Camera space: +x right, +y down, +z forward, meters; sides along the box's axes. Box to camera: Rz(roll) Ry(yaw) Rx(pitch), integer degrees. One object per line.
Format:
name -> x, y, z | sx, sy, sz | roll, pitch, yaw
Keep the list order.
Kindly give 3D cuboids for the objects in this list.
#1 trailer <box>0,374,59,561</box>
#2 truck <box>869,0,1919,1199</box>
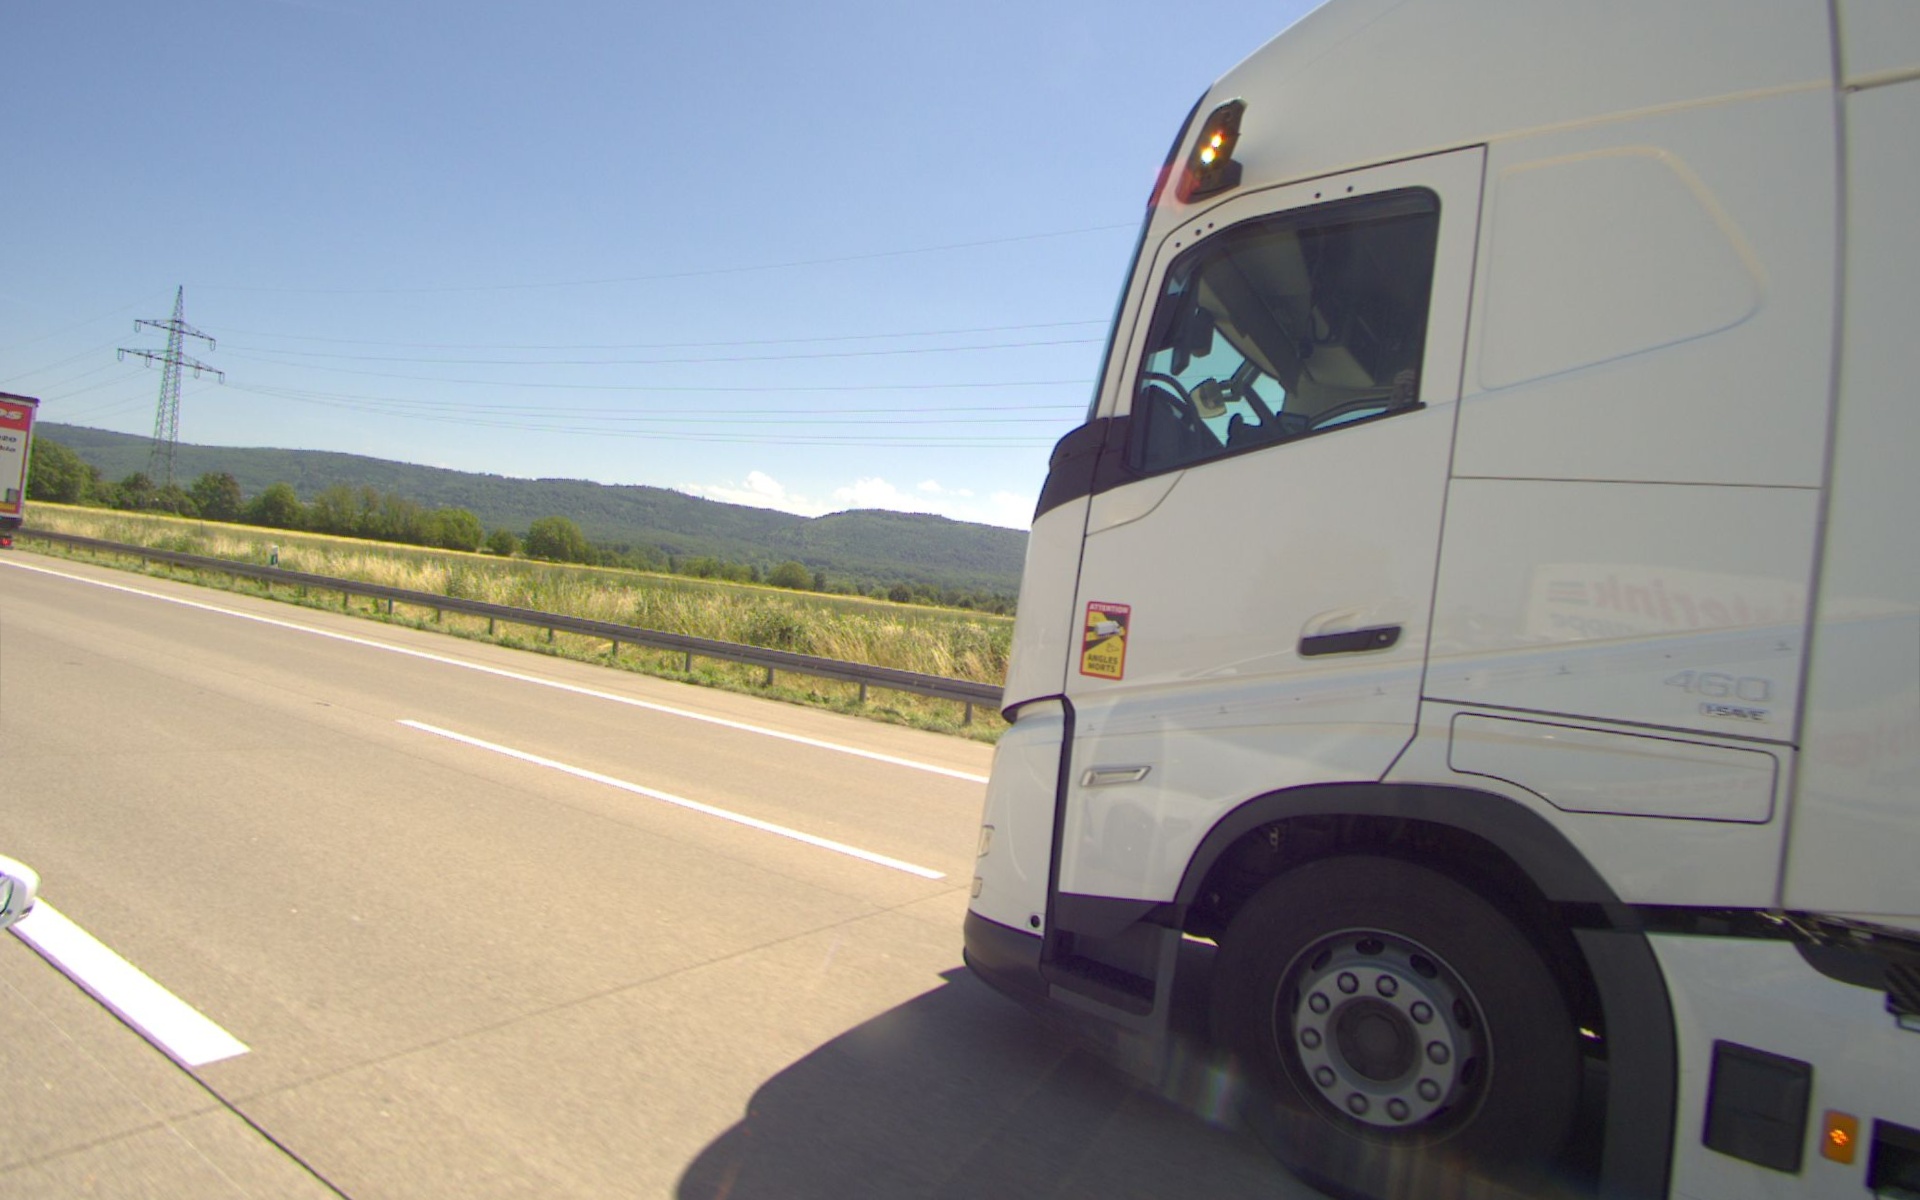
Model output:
trailer -> -27.983, -3.766, 26.062 | 13.287, 4.148, 2.879 | 7, -1, 31
truck -> 2.979, -0.181, 3.299 | 5.387, 4.110, 2.990 | 7, -1, 32
